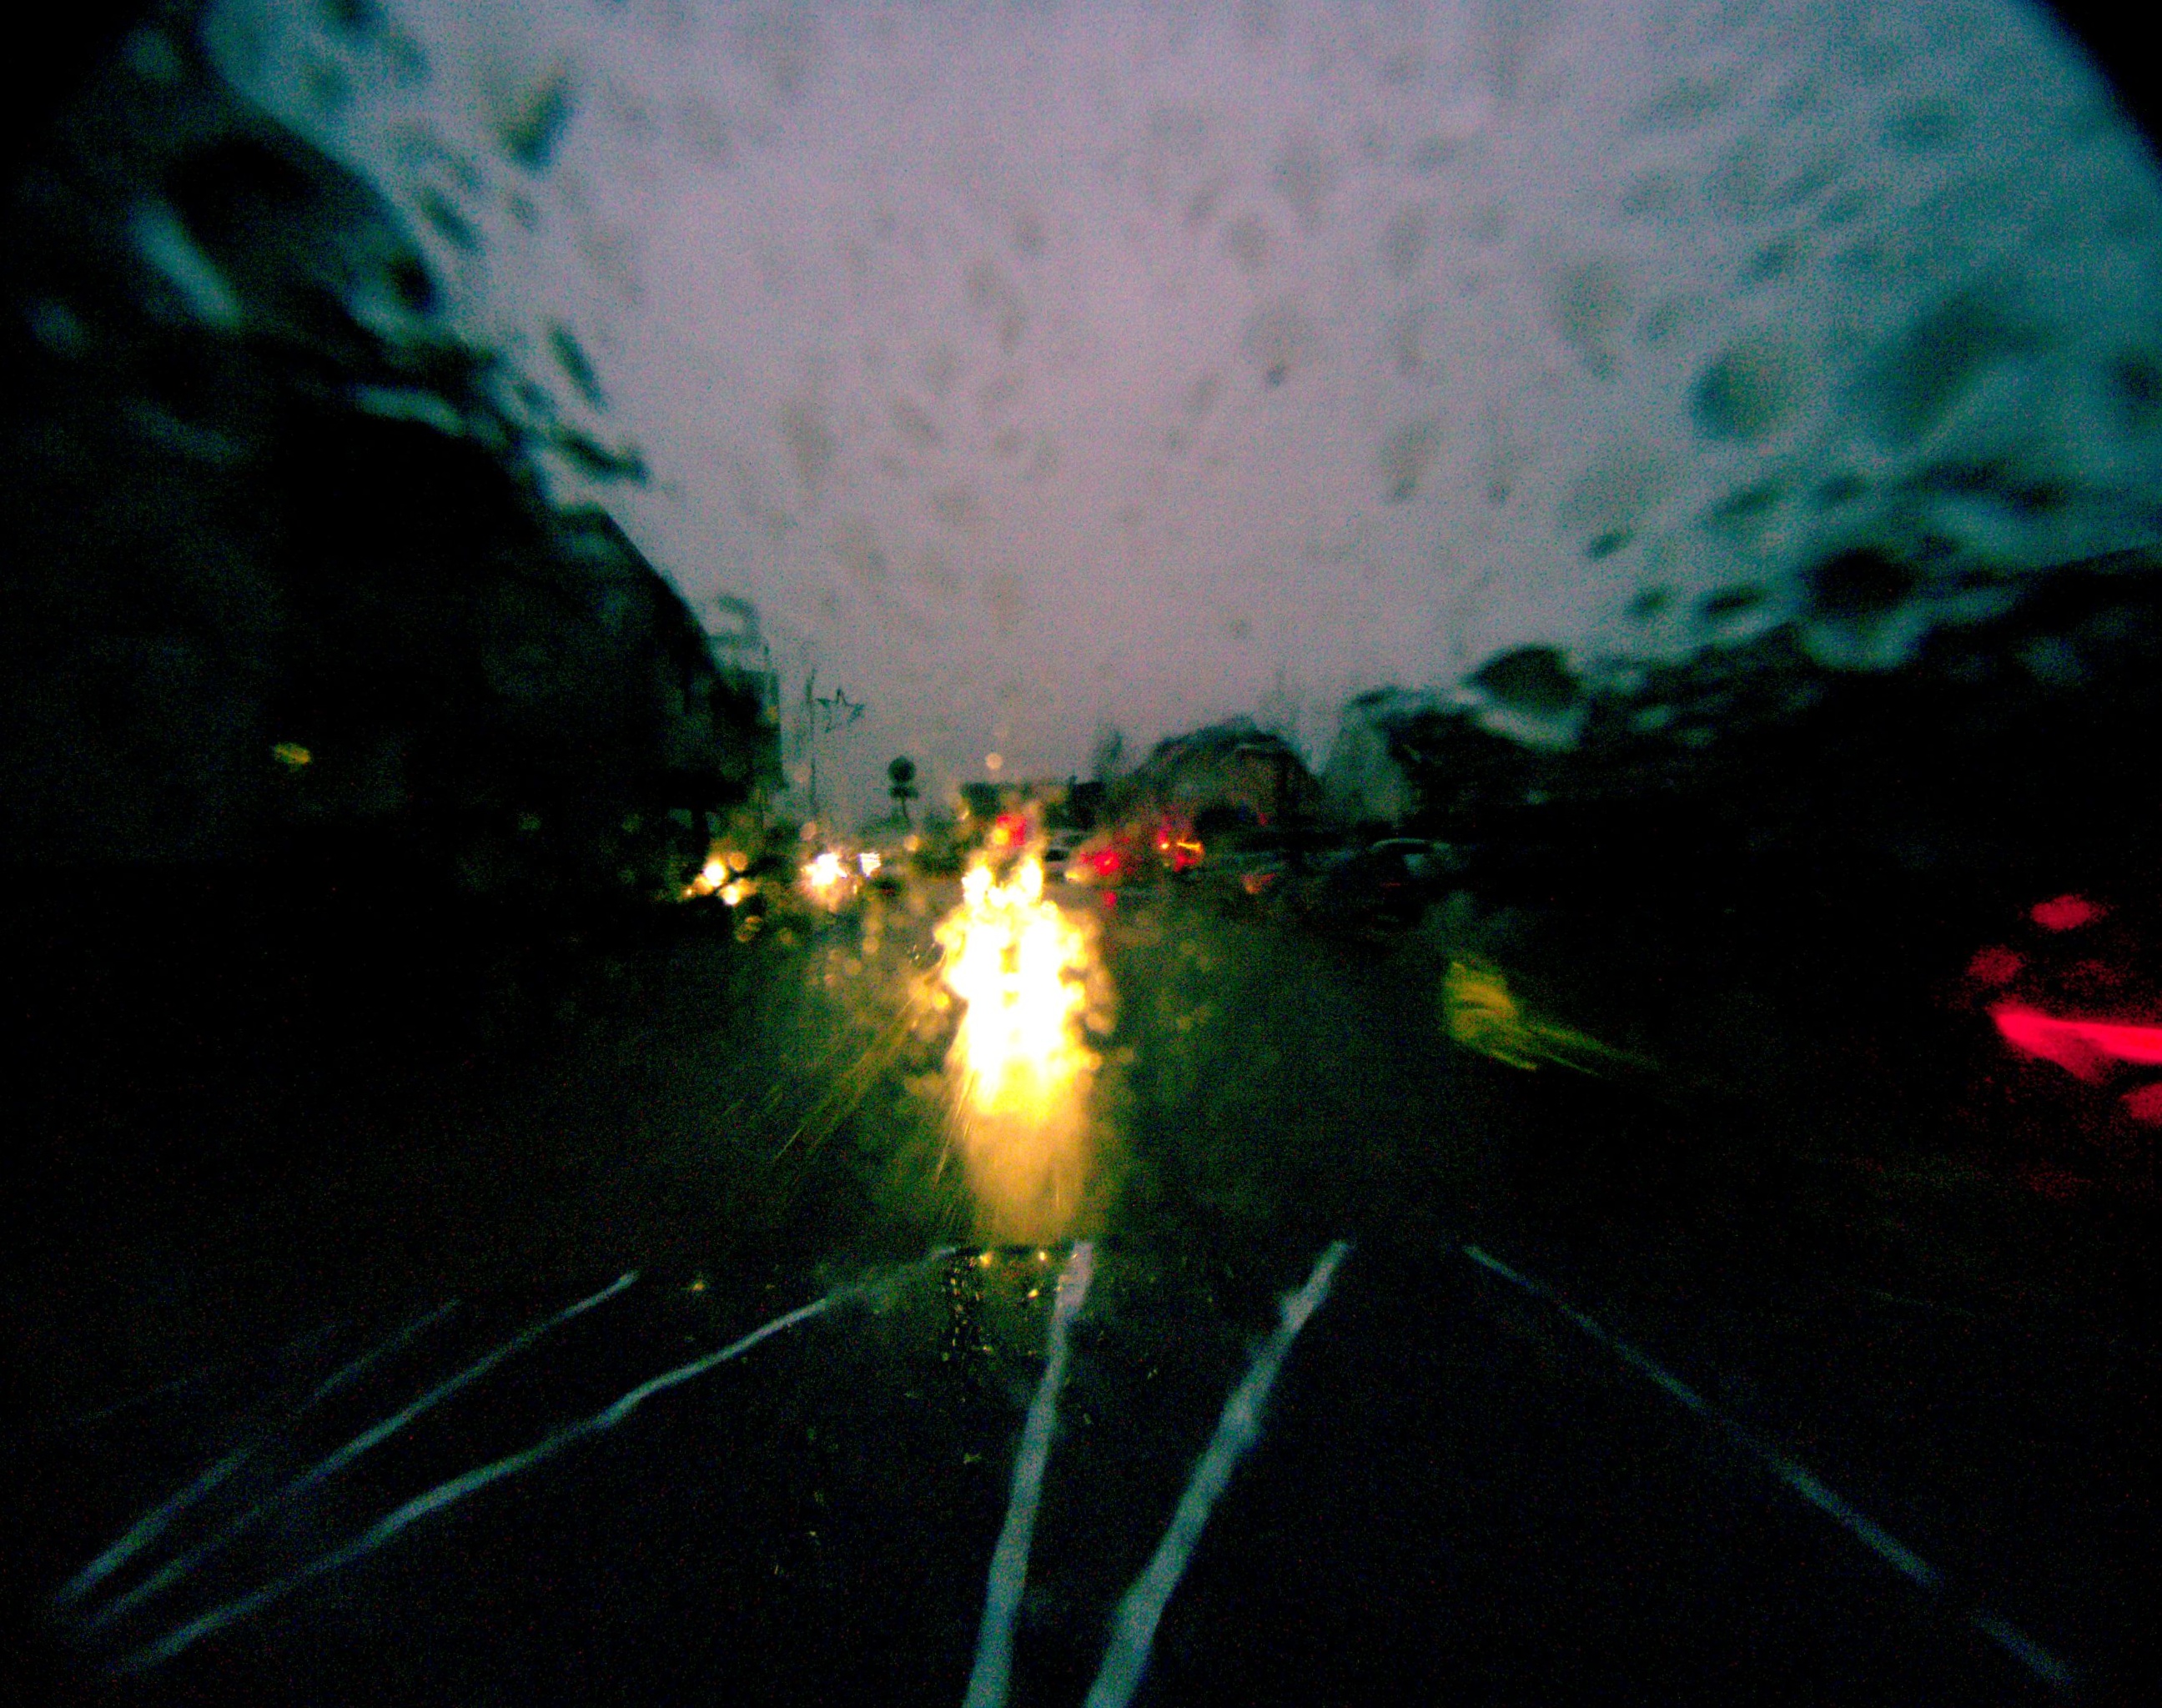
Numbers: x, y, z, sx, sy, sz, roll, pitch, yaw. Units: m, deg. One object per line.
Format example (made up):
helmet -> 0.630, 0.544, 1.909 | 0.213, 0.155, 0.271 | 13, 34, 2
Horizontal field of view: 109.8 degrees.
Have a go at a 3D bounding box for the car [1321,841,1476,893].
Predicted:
car -> 10.606, 0.415, 25.789 | 4.647, 1.644, 1.990 | -1, 1, 16

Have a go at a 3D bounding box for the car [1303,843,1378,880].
car -> 13.195, 0.369, 38.925 | 1.721, 1.718, 3.995 | -3, 1, -13

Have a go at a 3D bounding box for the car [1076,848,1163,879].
car -> 2.184, 0.519, 43.177 | 4.454, 1.623, 2.151 | -1, 1, -22

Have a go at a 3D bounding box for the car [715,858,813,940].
car -> -6.821, 0.862, 16.502 | 1.741, 1.552, 3.657 | 0, 0, -22

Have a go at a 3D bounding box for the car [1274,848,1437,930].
car -> 5.788, 0.669, 16.531 | 1.839, 1.527, 3.673 | -2, 1, -7

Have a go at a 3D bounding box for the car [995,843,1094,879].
car -> -2.255, 0.438, 46.597 | 5.779, 1.934, 1.989 | -2, 0, -9

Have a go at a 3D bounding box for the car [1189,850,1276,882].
car -> 7.132, 0.572, 35.903 | 3.927, 1.450, 1.764 | -1, 0, 12

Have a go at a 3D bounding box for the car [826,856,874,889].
car -> -12.448, 0.964, 40.782 | 1.983, 1.651, 4.452 | -1, 0, -23

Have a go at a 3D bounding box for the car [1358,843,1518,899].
car -> 10.544, 0.460, 22.773 | 4.105, 1.573, 1.722 | 0, 1, 16

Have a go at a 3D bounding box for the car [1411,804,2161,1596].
car -> 3.613, 0.800, 3.527 | 2.146, 1.850, 4.742 | 0, 0, 1

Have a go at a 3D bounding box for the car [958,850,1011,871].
car -> -8.812, 0.575, 69.396 | 4.433, 1.790, 1.841 | -1, 0, -24

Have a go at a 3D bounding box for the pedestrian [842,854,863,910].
pedestrian -> -7.002, 0.842, 23.235 | 0.581, 1.659, 0.790 | -1, 1, -18

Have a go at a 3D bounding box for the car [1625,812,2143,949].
car -> 12.365, 0.356, 12.344 | 5.384, 1.874, 2.077 | 0, 0, 23

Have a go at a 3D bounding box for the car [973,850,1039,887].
car -> -3.826, 0.671, 37.890 | 1.954, 1.740, 4.841 | 1, 0, -22

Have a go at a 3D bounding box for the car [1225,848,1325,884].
car -> 8.307, 0.505, 32.794 | 4.067, 1.451, 1.759 | -1, 1, 11

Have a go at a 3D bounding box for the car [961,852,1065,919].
car -> -2.110, 0.789, 21.824 | 2.272, 1.633, 5.059 | -2, 1, -13

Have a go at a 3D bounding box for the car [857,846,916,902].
car -> -7.574, 0.728, 29.281 | 1.981, 1.948, 4.845 | -1, 0, -16

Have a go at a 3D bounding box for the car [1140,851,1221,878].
car -> 6.400, 0.682, 48.856 | 4.772, 1.626, 1.998 | 1, -1, -14

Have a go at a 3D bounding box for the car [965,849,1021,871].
car -> -7.745, 0.508, 66.733 | 4.522, 1.855, 1.865 | -1, 0, -24

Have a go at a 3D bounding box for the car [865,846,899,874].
car -> -18.514, 0.557, 70.418 | 2.204, 2.476, 6.131 | -1, 0, -22

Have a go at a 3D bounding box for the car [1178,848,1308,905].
car -> 4.794, 0.632, 23.143 | 1.912, 1.524, 4.249 | -2, 0, -19

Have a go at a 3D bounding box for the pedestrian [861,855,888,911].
pedestrian -> -6.382, 0.868, 23.484 | 0.716, 1.689, 0.803 | -1, 1, -21

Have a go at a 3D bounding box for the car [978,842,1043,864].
car -> -5.758, -0.063, 61.719 | 4.886, 1.674, 1.997 | -1, 0, -21

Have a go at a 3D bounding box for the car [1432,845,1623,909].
car -> 11.467, 0.586, 19.845 | 3.991, 1.521, 2.003 | -1, 0, 20
